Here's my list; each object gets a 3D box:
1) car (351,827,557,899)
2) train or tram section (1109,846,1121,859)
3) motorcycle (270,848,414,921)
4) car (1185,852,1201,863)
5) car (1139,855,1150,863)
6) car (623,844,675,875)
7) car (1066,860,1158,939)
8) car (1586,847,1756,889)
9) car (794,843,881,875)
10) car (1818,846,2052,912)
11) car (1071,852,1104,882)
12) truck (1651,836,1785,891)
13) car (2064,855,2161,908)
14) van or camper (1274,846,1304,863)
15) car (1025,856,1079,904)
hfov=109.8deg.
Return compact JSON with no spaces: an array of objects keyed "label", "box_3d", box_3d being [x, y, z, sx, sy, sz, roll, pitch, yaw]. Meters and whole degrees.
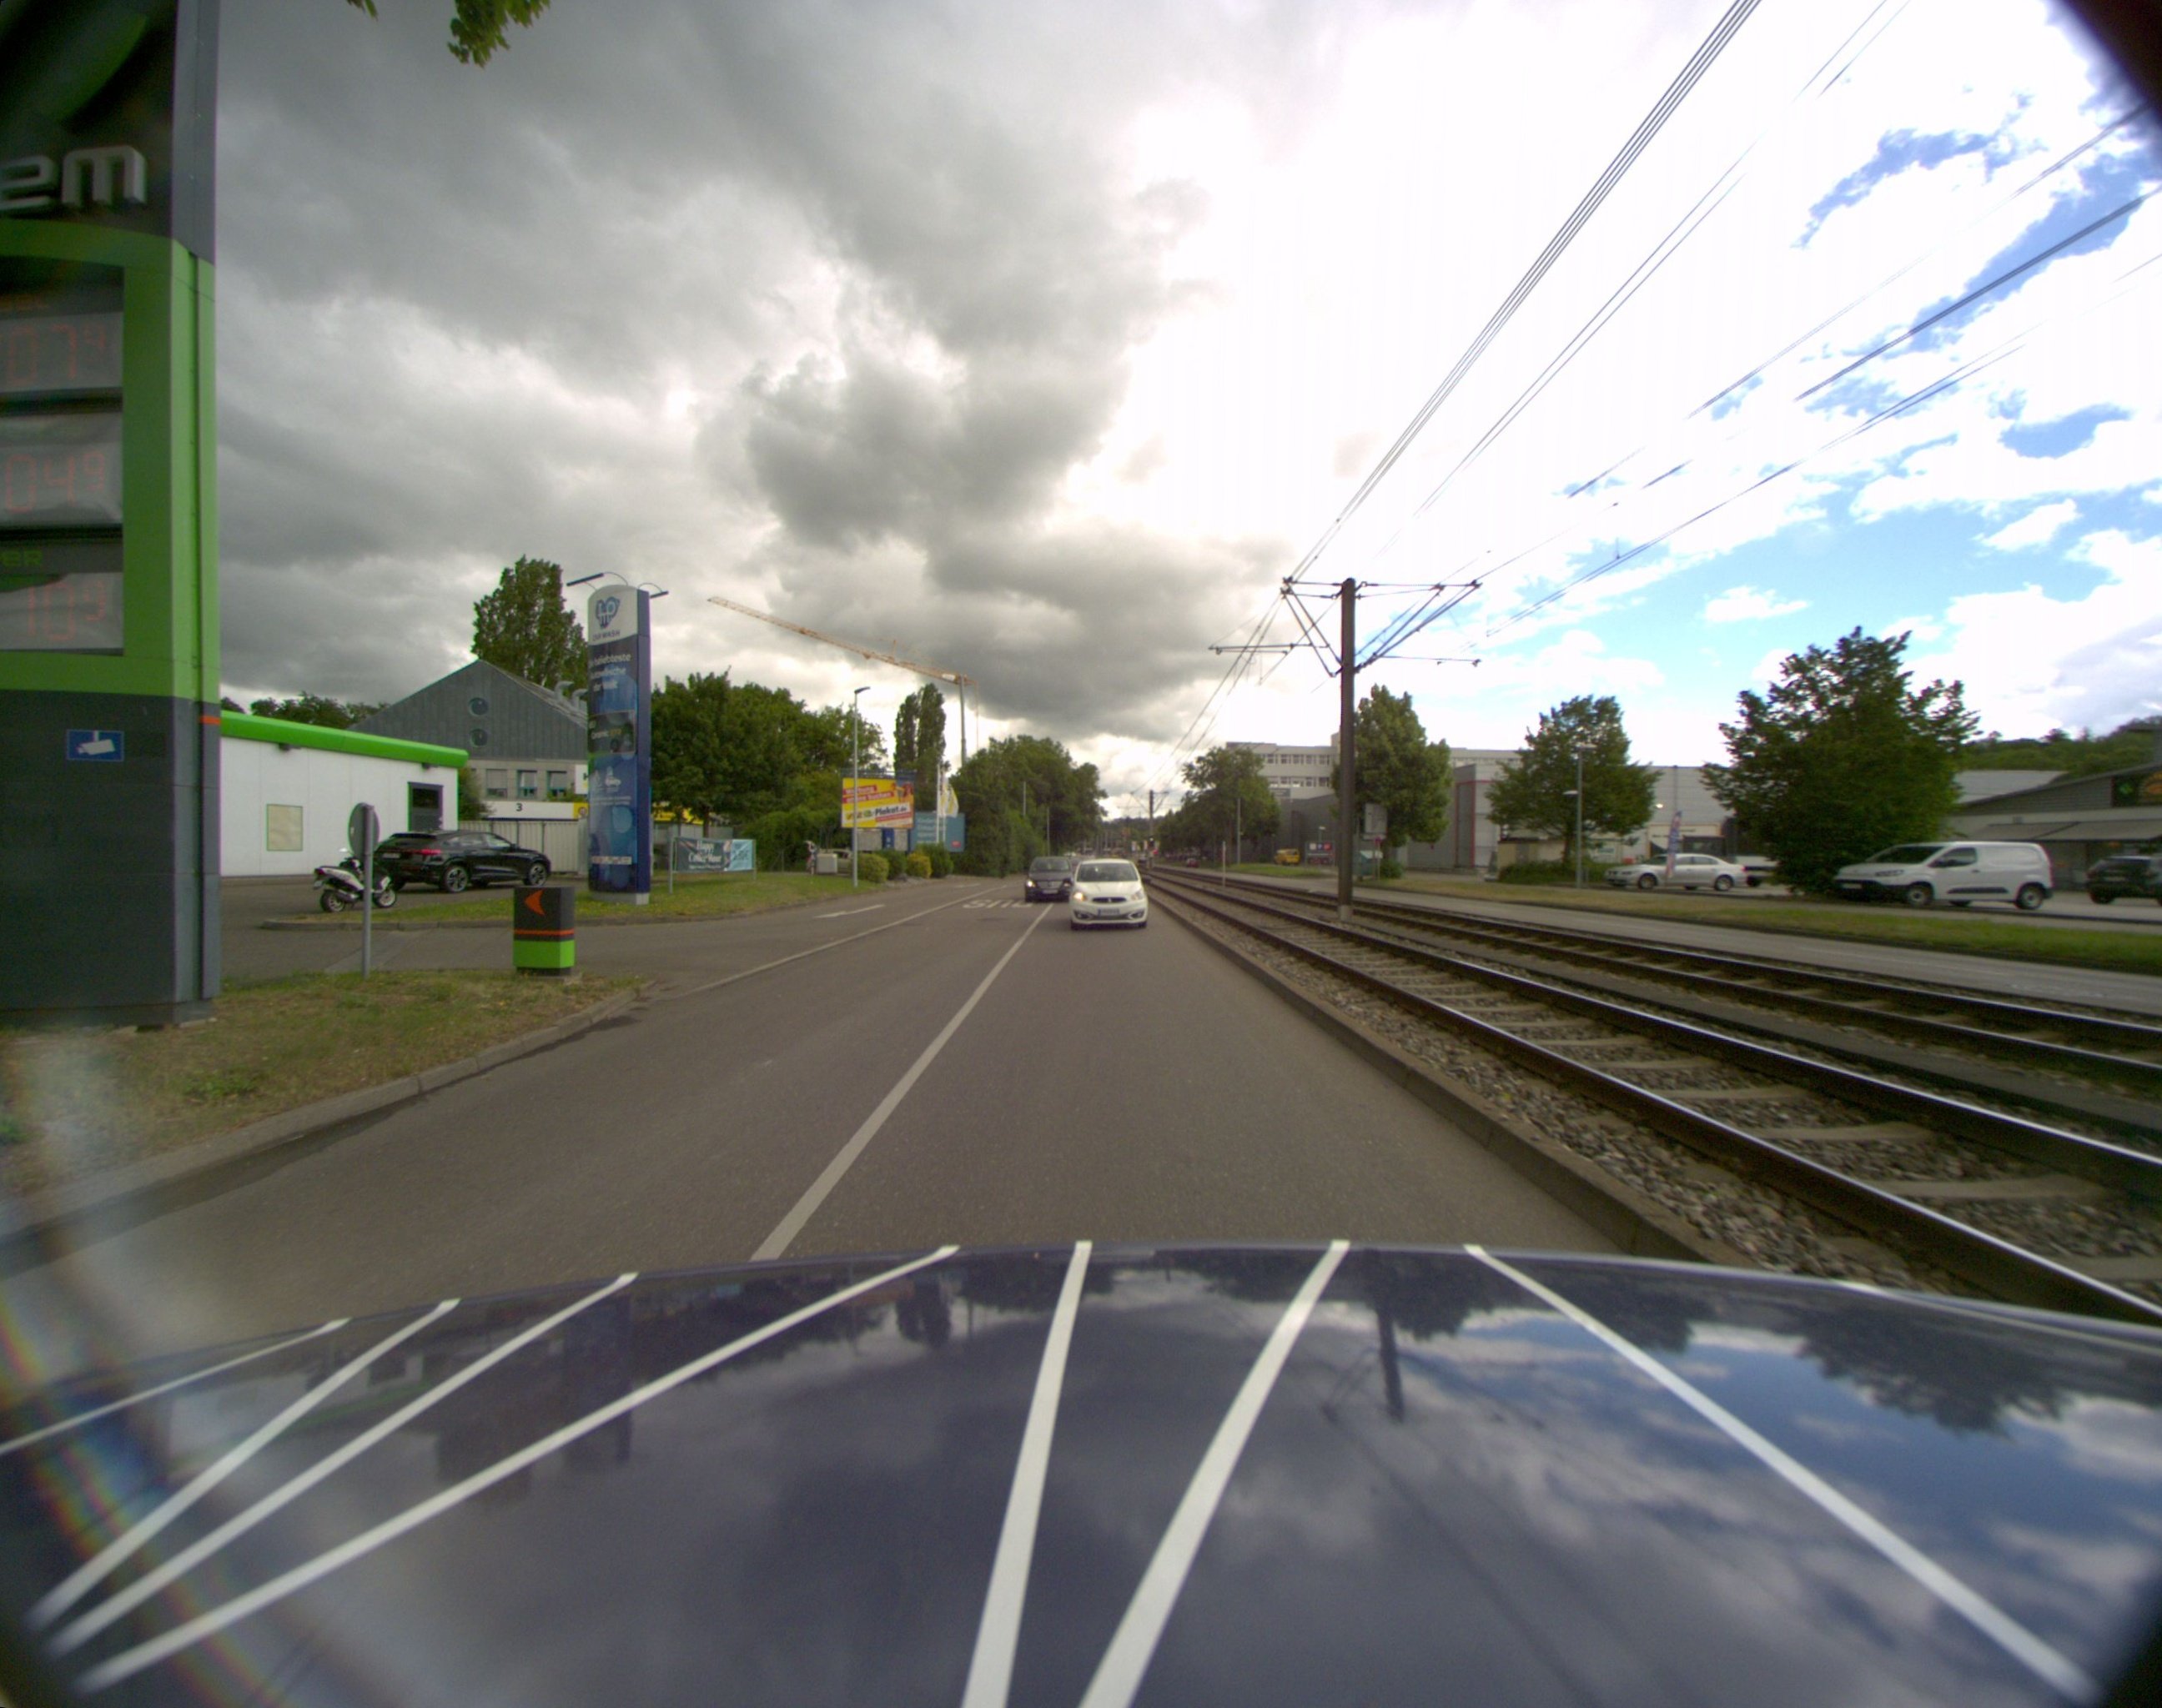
[{"label":"car","box_3d":[-16.738,0.188,20.624,1.824,1.665,4.337,2,1,3]},{"label":"train or tram section","box_3d":[10.371,-0.424,233.193,2.778,3.753,13.785,0,0,-1]},{"label":"motorcycle","box_3d":[-14.335,0.555,14.830,0.857,1.323,1.990,1,0,1]},{"label":"car","box_3d":[17.860,0.558,121.343,1.797,1.761,3.999,0,0,-1]},{"label":"car","box_3d":[12.676,1.039,151.659,1.763,1.393,4.443,3,0,0]},{"label":"car","box_3d":[-23.490,0.285,41.435,1.633,1.630,3.525,1,0,-16]},{"label":"car","box_3d":[0.612,0.911,16.851,1.764,1.469,4.031,-1,0,0]},{"label":"car","box_3d":[23.757,0.556,30.801,4.793,1.619,2.652,0,-1,2]},{"label":"car","box_3d":[-13.381,0.283,41.980,4.029,1.646,2.944,1,0,-6]},{"label":"car","box_3d":[23.420,0.661,20.969,4.231,1.717,1.995,1,0,-1]},{"label":"car","box_3d":[0.383,0.701,42.226,1.693,1.521,4.000,-1,0,1]},{"label":"truck","box_3d":[30.084,0.419,36.155,1.998,2.368,5.264,1,0,1]},{"label":"car","box_3d":[35.015,0.880,24.634,3.998,1.644,1.875,1,0,-2]},{"label":"van or camper","box_3d":[25.589,0.093,93.696,2.109,2.002,5.241,0,0,-2]},{"label":"car","box_3d":[-0.968,0.875,27.299,1.714,1.586,4.000,0,0,1]}]
